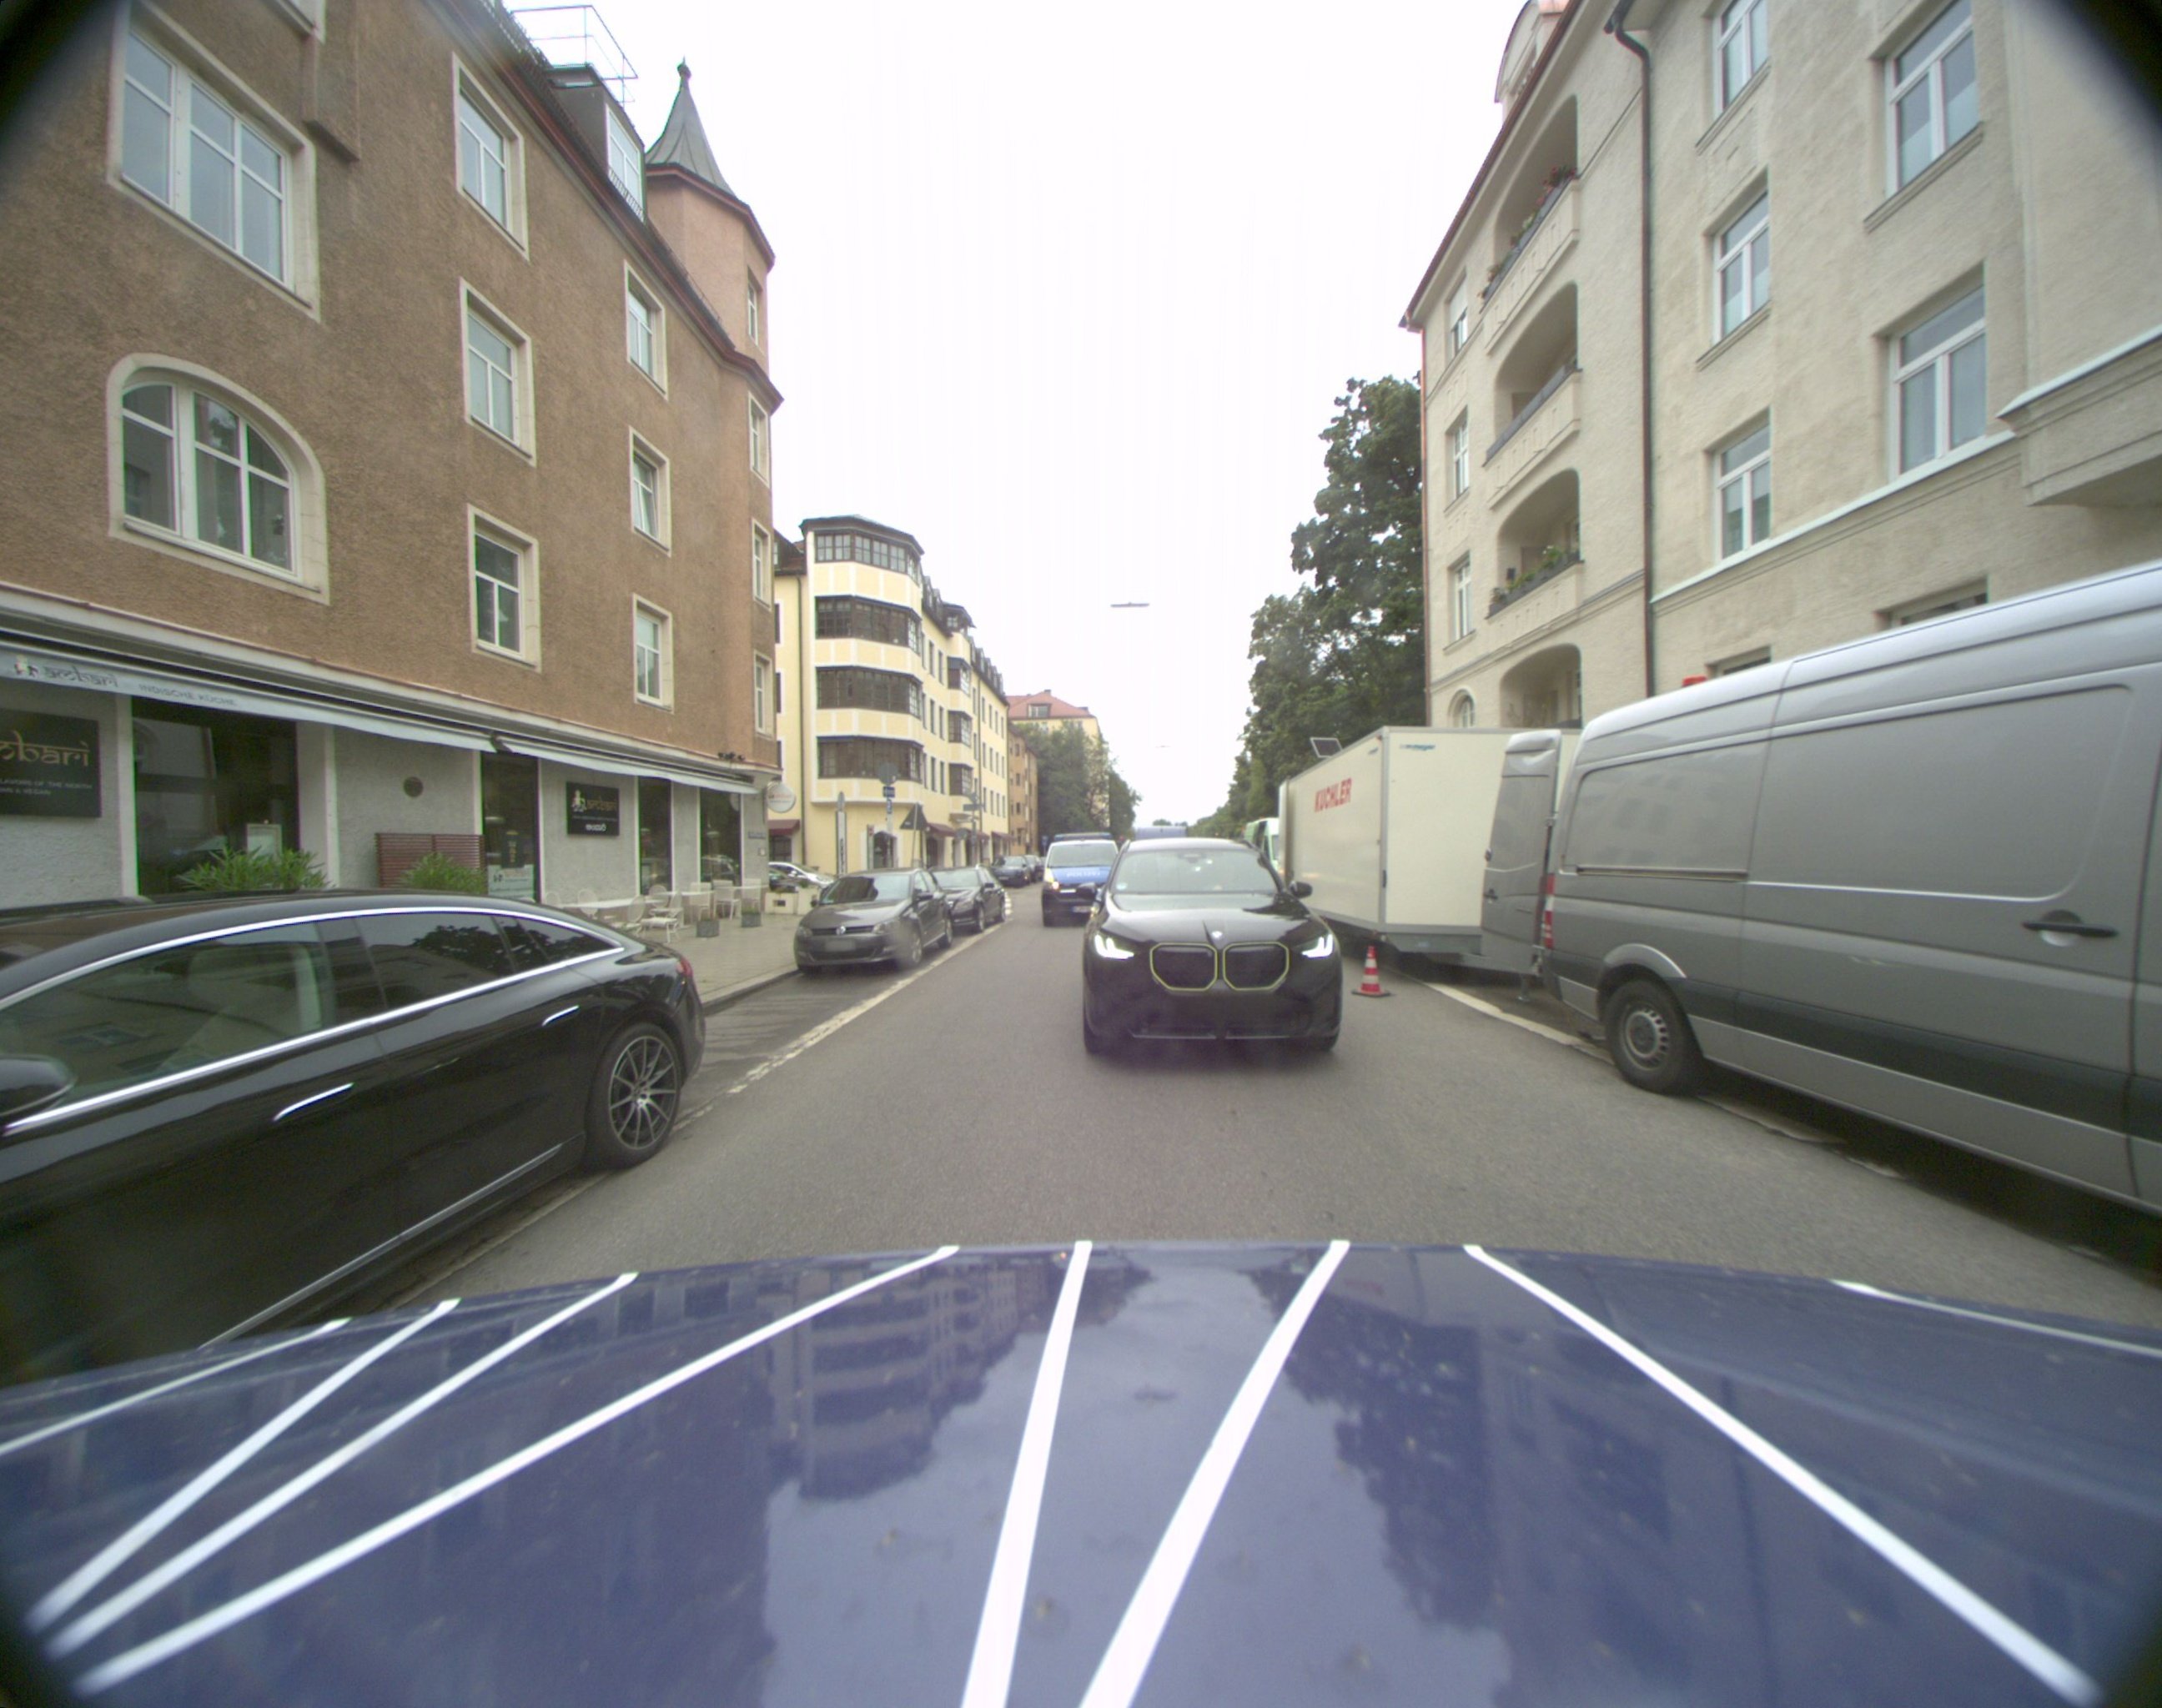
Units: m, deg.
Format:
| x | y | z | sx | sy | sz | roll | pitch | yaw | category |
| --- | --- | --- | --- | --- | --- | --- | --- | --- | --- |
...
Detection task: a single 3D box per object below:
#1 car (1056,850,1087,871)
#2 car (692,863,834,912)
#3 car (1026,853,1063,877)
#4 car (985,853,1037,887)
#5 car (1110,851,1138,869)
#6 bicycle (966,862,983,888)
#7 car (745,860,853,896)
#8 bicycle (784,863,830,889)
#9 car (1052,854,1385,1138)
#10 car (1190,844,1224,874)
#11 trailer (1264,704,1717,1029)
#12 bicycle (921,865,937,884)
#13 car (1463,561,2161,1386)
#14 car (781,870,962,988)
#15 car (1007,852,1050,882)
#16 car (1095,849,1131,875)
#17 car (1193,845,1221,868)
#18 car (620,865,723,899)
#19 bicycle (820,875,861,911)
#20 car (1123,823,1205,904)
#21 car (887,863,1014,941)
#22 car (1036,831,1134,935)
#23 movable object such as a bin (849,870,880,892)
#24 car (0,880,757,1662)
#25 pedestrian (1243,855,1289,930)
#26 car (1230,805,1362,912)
| x | y | z | sx | sy | sz | roll | pitch | yaw | category |
| --- | --- | --- | --- | --- | --- | --- | --- | --- | --- |
| -0.744 | 0.485 | 63.935 | 1.882 | 1.642 | 5.619 | 1 | 1 | 7 | car |
| -10.462 | 1.078 | 25.205 | 3.881 | 1.479 | 1.892 | -1 | 1 | 3 | car |
| -2.413 | 0.721 | 51.147 | 1.763 | 1.514 | 3.934 | 1 | 1 | 8 | car |
| -3.695 | 0.811 | 40.848 | 2.111 | 1.613 | 4.497 | -1 | 1 | 3 | car |
| 3.476 | 0.465 | 60.273 | 1.836 | 1.390 | 4.002 | 0 | 1 | 9 | car |
| -5.156 | 0.997 | 36.862 | 0.430 | 1.152 | 2.053 | 0 | 1 | 4 | bicycle |
| -11.596 | 1.017 | 31.373 | 3.741 | 1.431 | 1.753 | 0 | -2 | 7 | car |
| -12.540 | 0.999 | 34.817 | 1.904 | 1.180 | 0.515 | -1 | 1 | 3 | bicycle |
| 1.062 | 0.825 | 6.608 | 1.920 | 1.557 | 4.295 | 0 | 1 | 7 | car |
| 7.520 | 0.269 | 45.586 | 1.816 | 1.580 | 4.166 | 4 | 1 | 8 | car |
| 4.723 | 0.121 | 10.922 | 2.809 | 2.951 | 7.602 | 2 | 0 | 5 | trailer |
| -7.820 | 1.044 | 39.114 | 0.262 | 0.897 | 1.695 | 4 | 1 | 5 | bicycle |
| 4.452 | 0.396 | 3.430 | 2.061 | 2.572 | 6.877 | 3 | 0 | 2 | car |
| -3.069 | 1.033 | 12.026 | 1.576 | 1.386 | 4.182 | -1 | 1 | 1 | car |
| -3.115 | 0.721 | 46.065 | 1.817 | 1.580 | 4.165 | 3 | 1 | 6 | car |
| 2.074 | 0.466 | 47.679 | 1.997 | 1.587 | 4.001 | 0 | 1 | 6 | car |
| 9.123 | 0.143 | 55.167 | 1.816 | 1.455 | 4.166 | 3 | 1 | 8 | car |
| -17.115 | 1.137 | 31.821 | 3.451 | 1.329 | 1.640 | 0 | 1 | 6 | car |
| -7.201 | 1.146 | 22.798 | 0.496 | 0.999 | 1.804 | 1 | -1 | 5 | bicycle |
| 3.069 | 0.234 | 26.713 | 2.003 | 2.477 | 6.238 | -1 | 1 | 14 | car |
| -2.794 | 0.986 | 17.432 | 1.851 | 1.397 | 4.788 | -1 | 0 | 3 | car |
| 0.272 | 0.589 | 18.532 | 1.826 | 2.086 | 5.635 | -2 | 0 | 5 | car |
| -9.388 | 1.175 | 33.003 | 1.125 | 0.895 | 0.684 | 0 | 1 | 4 | movable object such as a bin |
| -3.300 | 0.995 | 2.438 | 1.935 | 1.544 | 5.637 | -2 | 0 | 1 | car |
| 3.998 | 0.807 | 16.430 | 0.764 | 1.571 | 0.636 | -1 | 1 | -15 | pedestrian |
| 5.869 | 0.104 | 21.821 | 2.146 | 2.557 | 6.795 | -1 | 0 | 3 | car |
